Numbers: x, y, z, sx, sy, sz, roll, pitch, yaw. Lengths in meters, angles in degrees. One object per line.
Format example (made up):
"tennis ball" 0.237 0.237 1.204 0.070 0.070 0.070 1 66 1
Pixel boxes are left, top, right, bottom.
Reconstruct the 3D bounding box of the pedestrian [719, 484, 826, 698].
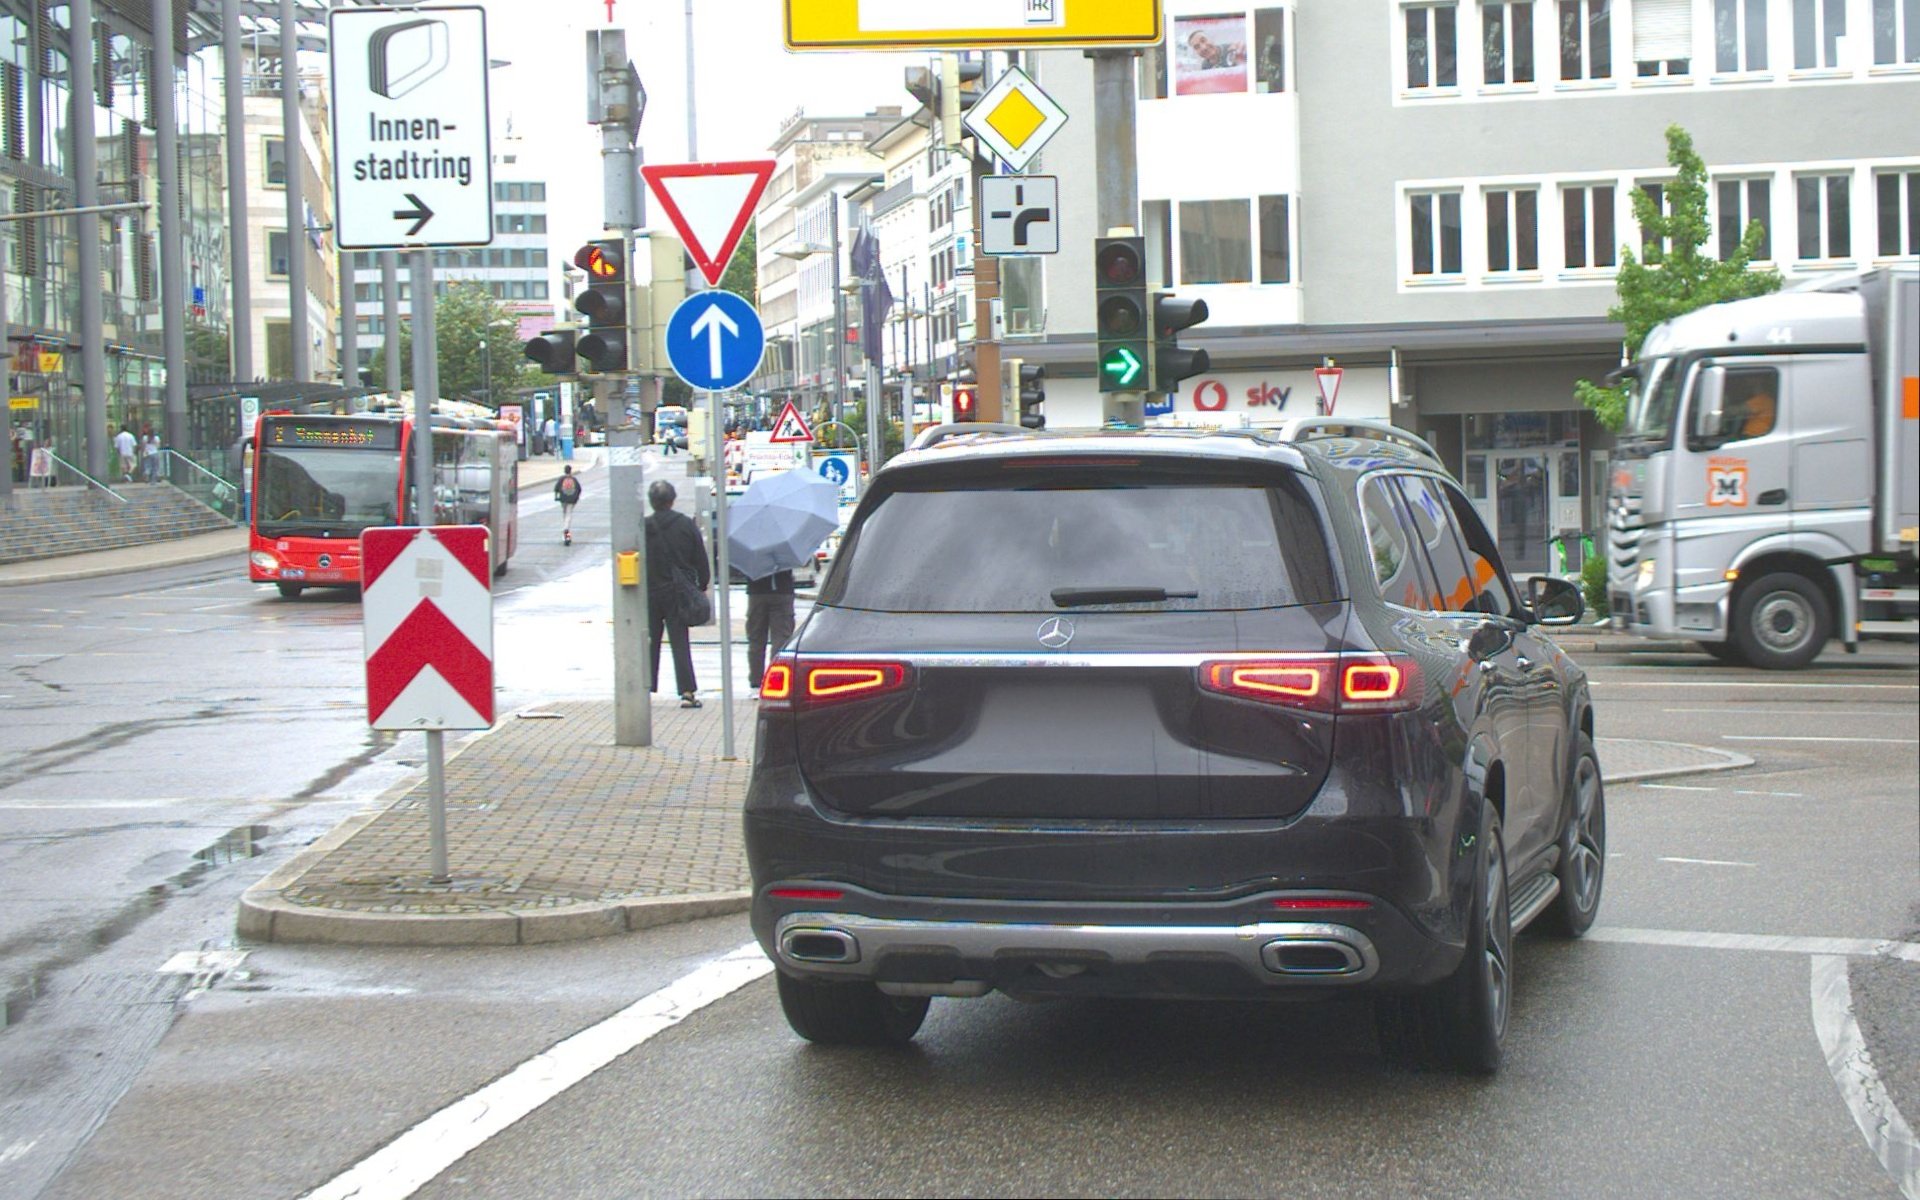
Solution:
"pedestrian" -1.498 -0.073 27.608 0.756 1.686 0.693 1 0 3

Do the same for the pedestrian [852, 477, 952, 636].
"pedestrian" -0.668 -0.501 39.279 1.009 1.781 0.853 1 2 -8

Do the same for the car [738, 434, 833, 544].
"car" -4.921 -3.095 96.195 2.444 2.947 6.154 1 2 -4

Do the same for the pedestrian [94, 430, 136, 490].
"pedestrian" -24.320 -4.036 98.958 1.038 1.707 1.008 0 1 -7

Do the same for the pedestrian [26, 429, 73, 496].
"pedestrian" -23.363 -3.525 88.193 1.038 1.707 1.008 0 1 -7

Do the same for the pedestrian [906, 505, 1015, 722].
"pedestrian" 0.009 0.091 24.009 0.705 1.483 0.560 1 0 3

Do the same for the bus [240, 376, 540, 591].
"bus" -9.983 -2.035 62.684 2.920 3.309 18.481 0 1 -2

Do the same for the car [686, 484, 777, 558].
"car" -4.905 -1.720 74.314 1.737 1.522 4.001 1 2 -1

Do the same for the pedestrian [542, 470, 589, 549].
"pedestrian" -9.508 -2.175 82.962 0.954 1.880 0.810 1 2 5

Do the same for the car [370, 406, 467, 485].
"car" -14.701 -4.165 93.569 2.241 2.027 5.358 1 2 -5

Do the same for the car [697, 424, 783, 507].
"car" -9.432 -5.757 147.842 2.445 3.453 6.151 1 2 8

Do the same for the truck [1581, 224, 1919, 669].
"truck" 11.902 -1.510 34.728 10.736 4.318 2.856 0 2 2

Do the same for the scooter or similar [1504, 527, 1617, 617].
"scooter or similar" 8.776 -0.412 50.196 1.498 1.252 0.930 1 3 18

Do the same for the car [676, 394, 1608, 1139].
"car" 0.858 0.304 10.982 2.089 1.810 4.790 1 2 14

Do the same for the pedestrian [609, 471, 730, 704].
"pedestrian" -2.168 -0.096 25.703 0.784 1.705 0.707 1 0 3

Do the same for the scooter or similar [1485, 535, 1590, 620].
"scooter or similar" 8.154 -0.323 48.537 1.381 1.183 0.543 0 1 18

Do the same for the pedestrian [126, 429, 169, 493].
"pedestrian" -22.217 -3.798 94.025 1.038 1.707 1.008 0 1 -7

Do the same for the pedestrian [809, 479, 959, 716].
"pedestrian" -0.539 -0.032 24.886 0.978 1.666 0.915 1 2 4

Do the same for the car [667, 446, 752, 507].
"car" -7.700 -3.793 106.093 2.422 1.774 5.155 1 2 -2

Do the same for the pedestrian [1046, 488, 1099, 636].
"pedestrian" 1.278 -0.431 38.901 0.569 1.663 0.501 0 1 5

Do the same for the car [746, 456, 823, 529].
"car" -4.586 -2.798 89.646 1.860 1.819 4.105 1 2 -4

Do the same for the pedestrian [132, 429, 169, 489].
"pedestrian" -23.341 -4.059 99.084 0.937 1.707 0.992 0 1 -7
